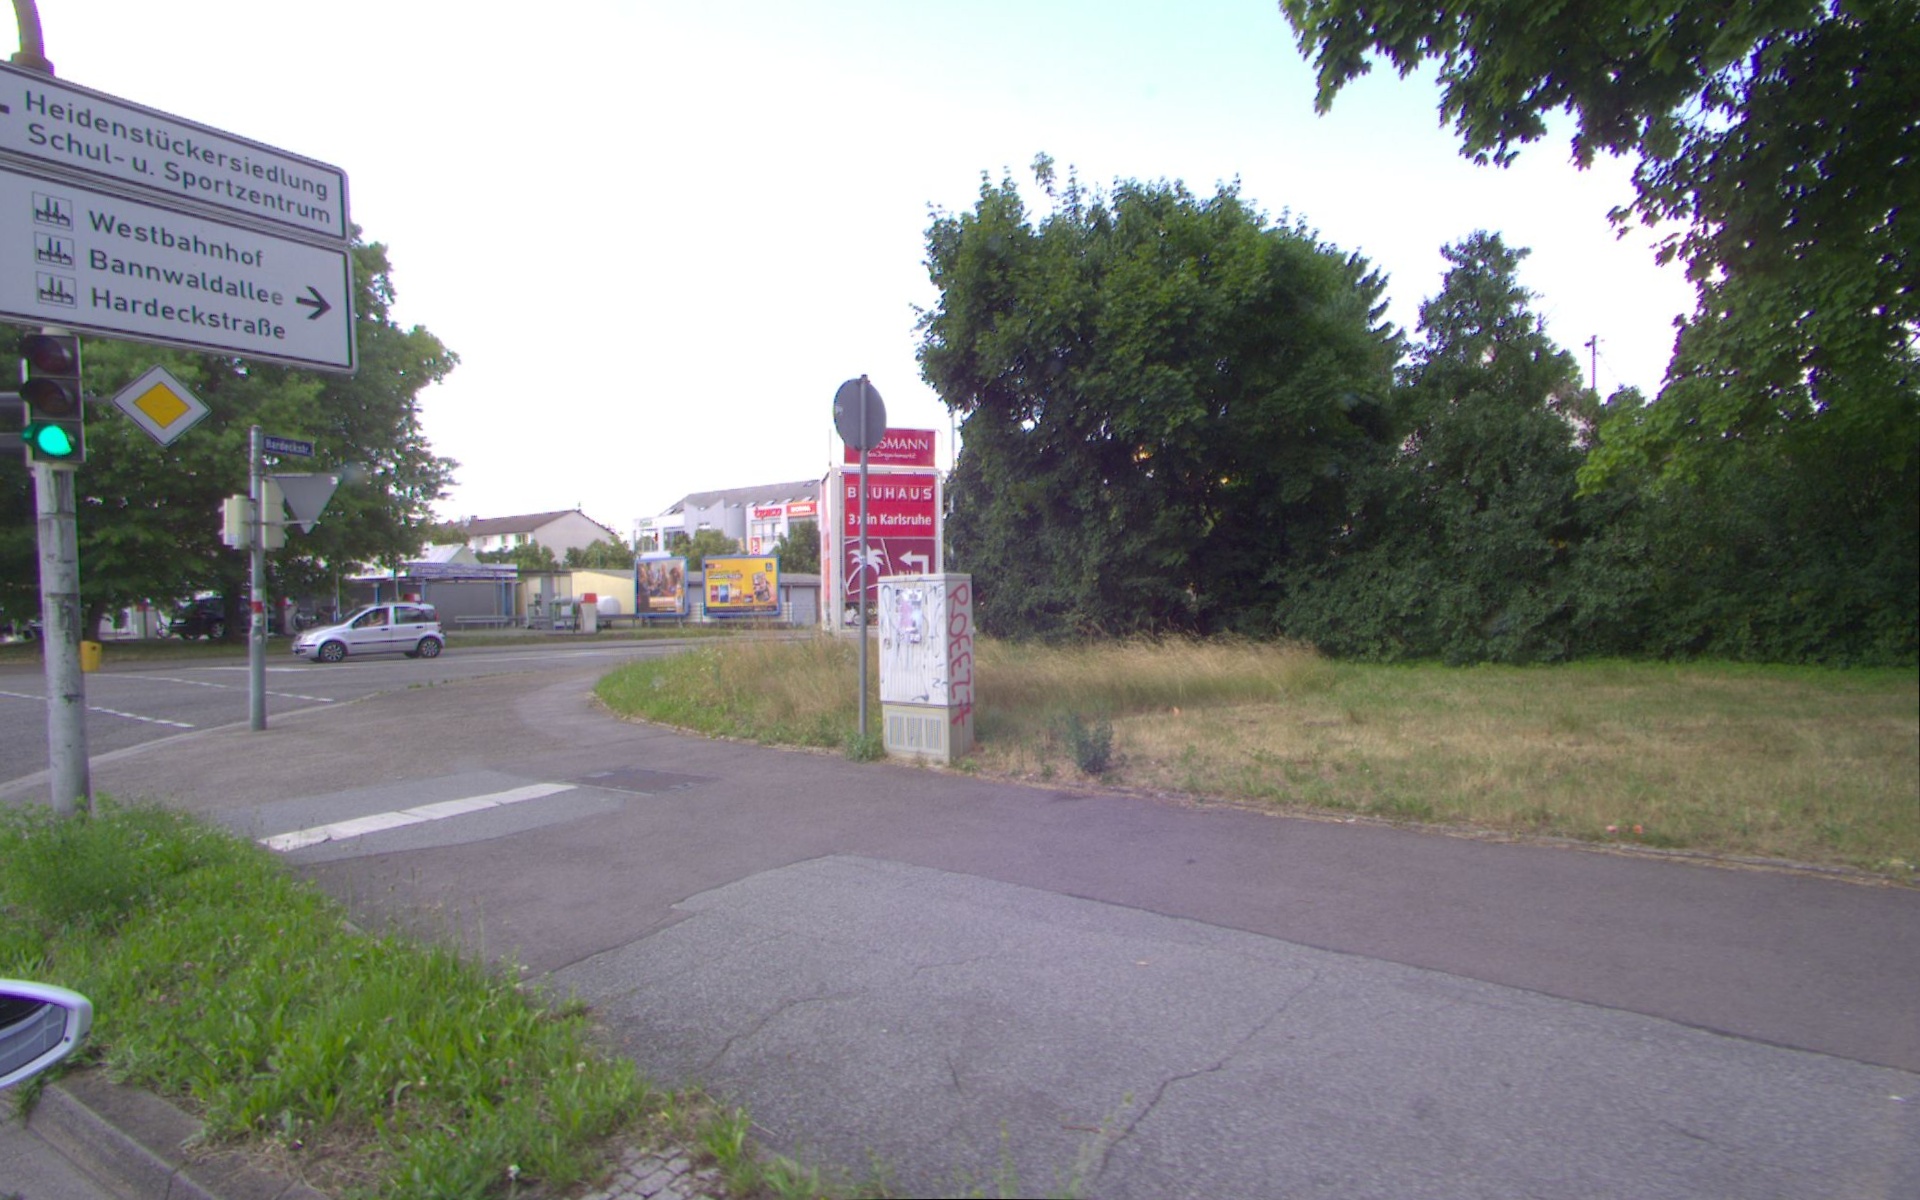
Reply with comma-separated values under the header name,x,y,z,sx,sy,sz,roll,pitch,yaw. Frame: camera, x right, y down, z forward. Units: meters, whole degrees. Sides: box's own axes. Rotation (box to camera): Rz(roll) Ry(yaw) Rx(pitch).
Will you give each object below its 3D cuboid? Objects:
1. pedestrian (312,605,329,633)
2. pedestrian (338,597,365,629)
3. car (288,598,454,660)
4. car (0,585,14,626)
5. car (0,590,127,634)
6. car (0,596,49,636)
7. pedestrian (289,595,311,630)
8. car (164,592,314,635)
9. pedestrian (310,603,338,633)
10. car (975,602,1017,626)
name,x,y,z,sx,sy,sz,roll,pitch,yaw
pedestrian,-36.326,1.076,56.891,0.616,1.565,0.651,0,1,39
pedestrian,-24.314,0.514,40.031,0.752,1.271,0.645,0,-1,-12
car,-15.732,0.739,26.841,1.543,1.537,3.574,0,0,45
car,-61.176,0.375,62.365,5.665,2.486,1.747,-1,1,31
car,-41.005,0.519,44.947,2.117,1.851,5.184,-1,0,22
car,-50.069,0.825,50.876,2.121,2.030,5.174,-1,0,29
pedestrian,-28.823,0.540,43.726,0.610,1.514,0.560,-1,-1,25
car,-29.357,0.522,40.957,2.117,1.617,4.552,-1,0,22
pedestrian,-25.320,0.721,39.875,0.752,1.205,0.645,0,-1,-12
car,2.760,1.047,75.328,1.626,1.559,3.883,-2,2,27
